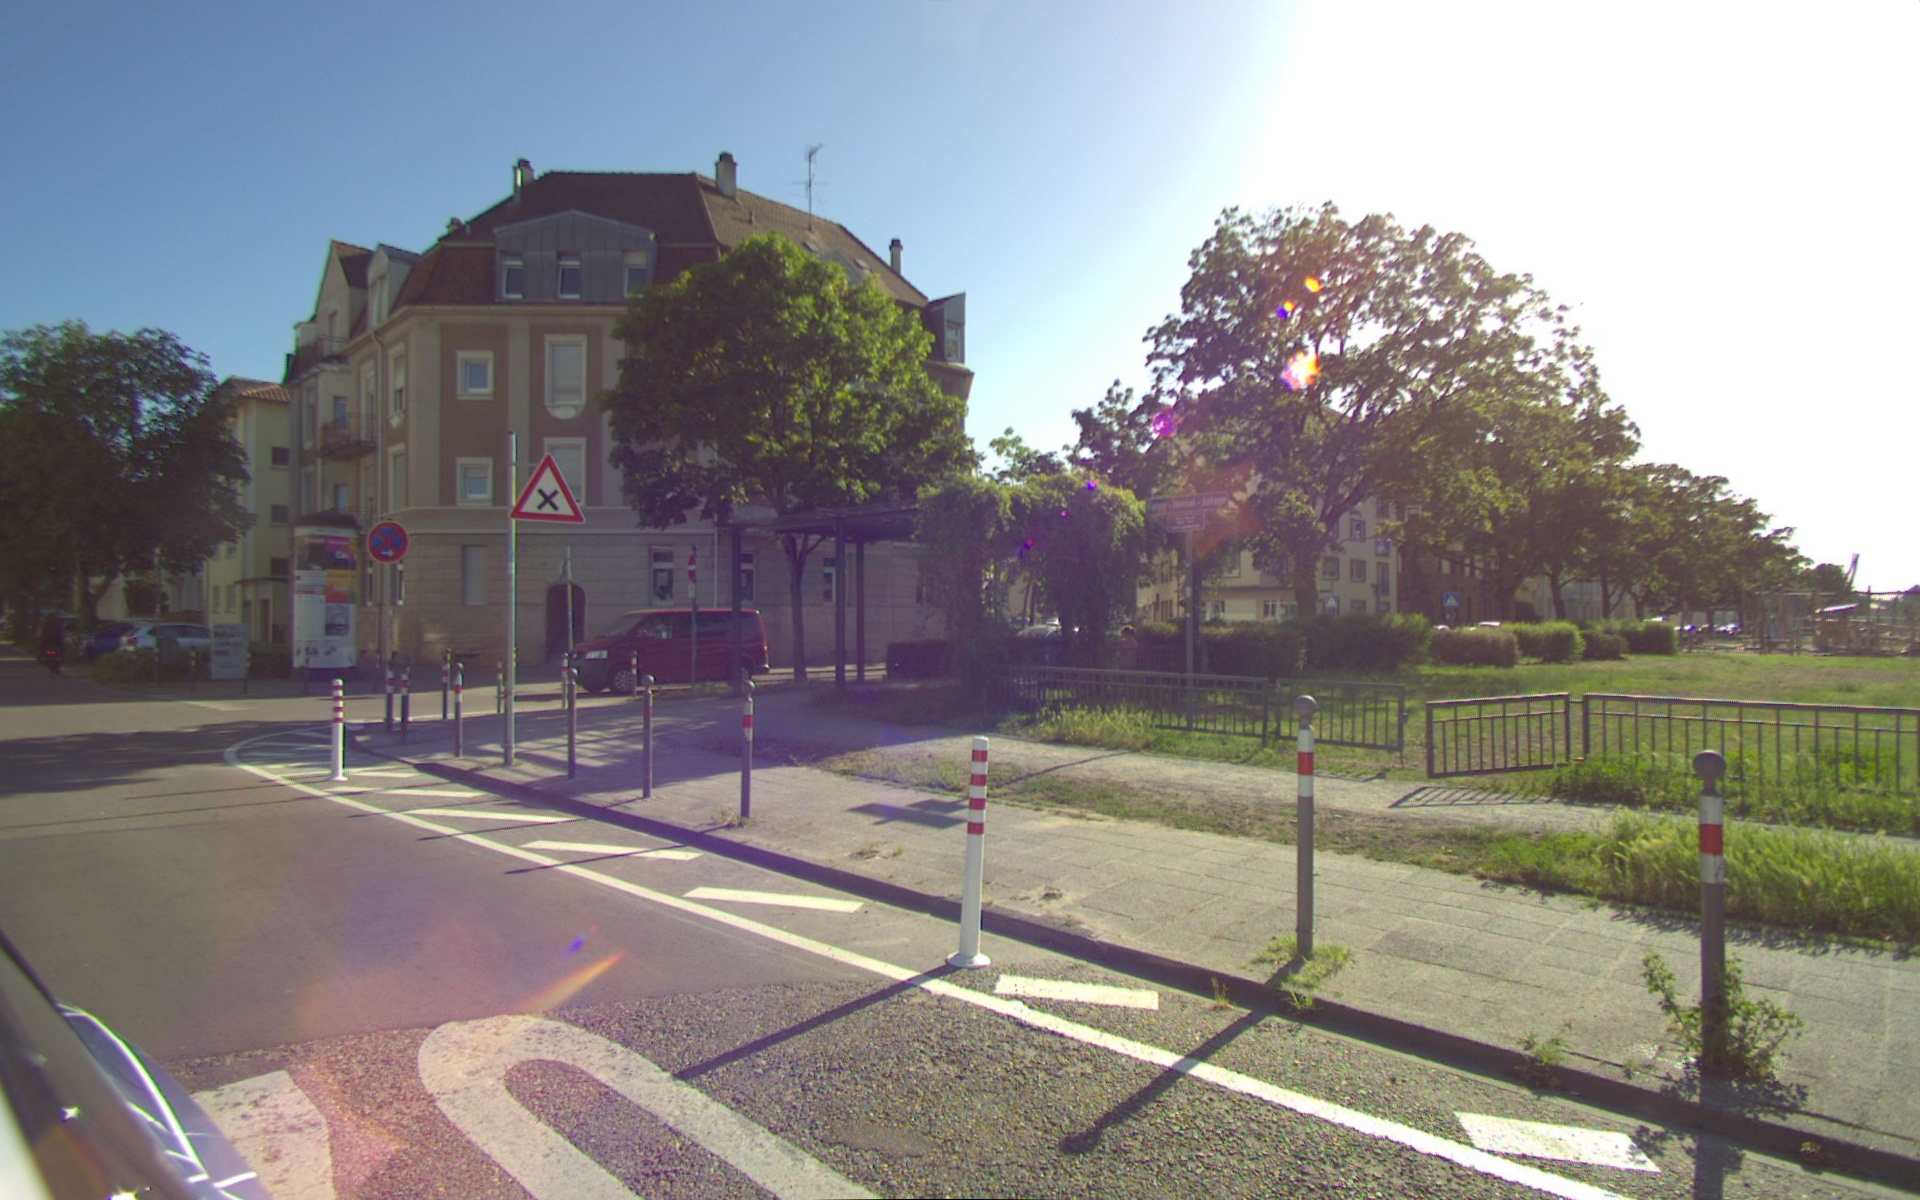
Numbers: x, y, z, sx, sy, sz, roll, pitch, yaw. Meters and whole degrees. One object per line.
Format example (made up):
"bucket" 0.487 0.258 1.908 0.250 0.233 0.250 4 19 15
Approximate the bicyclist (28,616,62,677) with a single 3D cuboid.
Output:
"bicyclist" -24.896 1.264 27.545 0.635 1.632 0.637 2 -2 -45

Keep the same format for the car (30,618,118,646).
"car" -49.673 1.782 56.766 1.690 1.506 3.484 -1 -1 39

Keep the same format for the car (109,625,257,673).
"car" -26.170 1.598 34.165 1.691 1.455 3.739 -1 -1 41

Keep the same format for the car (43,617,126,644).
"car" -51.257 1.767 59.278 1.690 1.506 3.484 -1 -1 39

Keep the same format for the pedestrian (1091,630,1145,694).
"pedestrian" 2.938 1.133 18.808 0.862 1.147 0.599 2 -3 -45

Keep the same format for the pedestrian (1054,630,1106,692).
"pedestrian" 2.304 1.150 19.374 0.833 1.158 0.599 2 -3 -45

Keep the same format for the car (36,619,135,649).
"car" -46.429 1.770 53.767 1.690 1.506 3.742 -1 -1 39

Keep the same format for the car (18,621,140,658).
"car" -38.905 1.731 44.780 1.686 1.506 3.751 -1 -1 31

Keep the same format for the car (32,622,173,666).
"car" -32.280 1.630 38.189 1.686 1.506 3.751 -1 -1 31

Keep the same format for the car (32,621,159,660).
"car" -36.473 1.666 42.779 1.686 1.506 3.751 -1 -1 31

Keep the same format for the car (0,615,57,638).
"car" -73.026 2.082 79.144 1.692 1.716 3.481 -1 -1 42

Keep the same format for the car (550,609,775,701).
"car" -7.040 1.254 24.298 4.810 1.975 1.899 2 -1 -42

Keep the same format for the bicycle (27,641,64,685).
"bicycle" -24.917 1.701 27.559 0.635 1.117 2.066 2 -2 -45

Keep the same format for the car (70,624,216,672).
"car" -28.282 1.628 35.113 1.691 1.506 3.739 -1 -1 41
